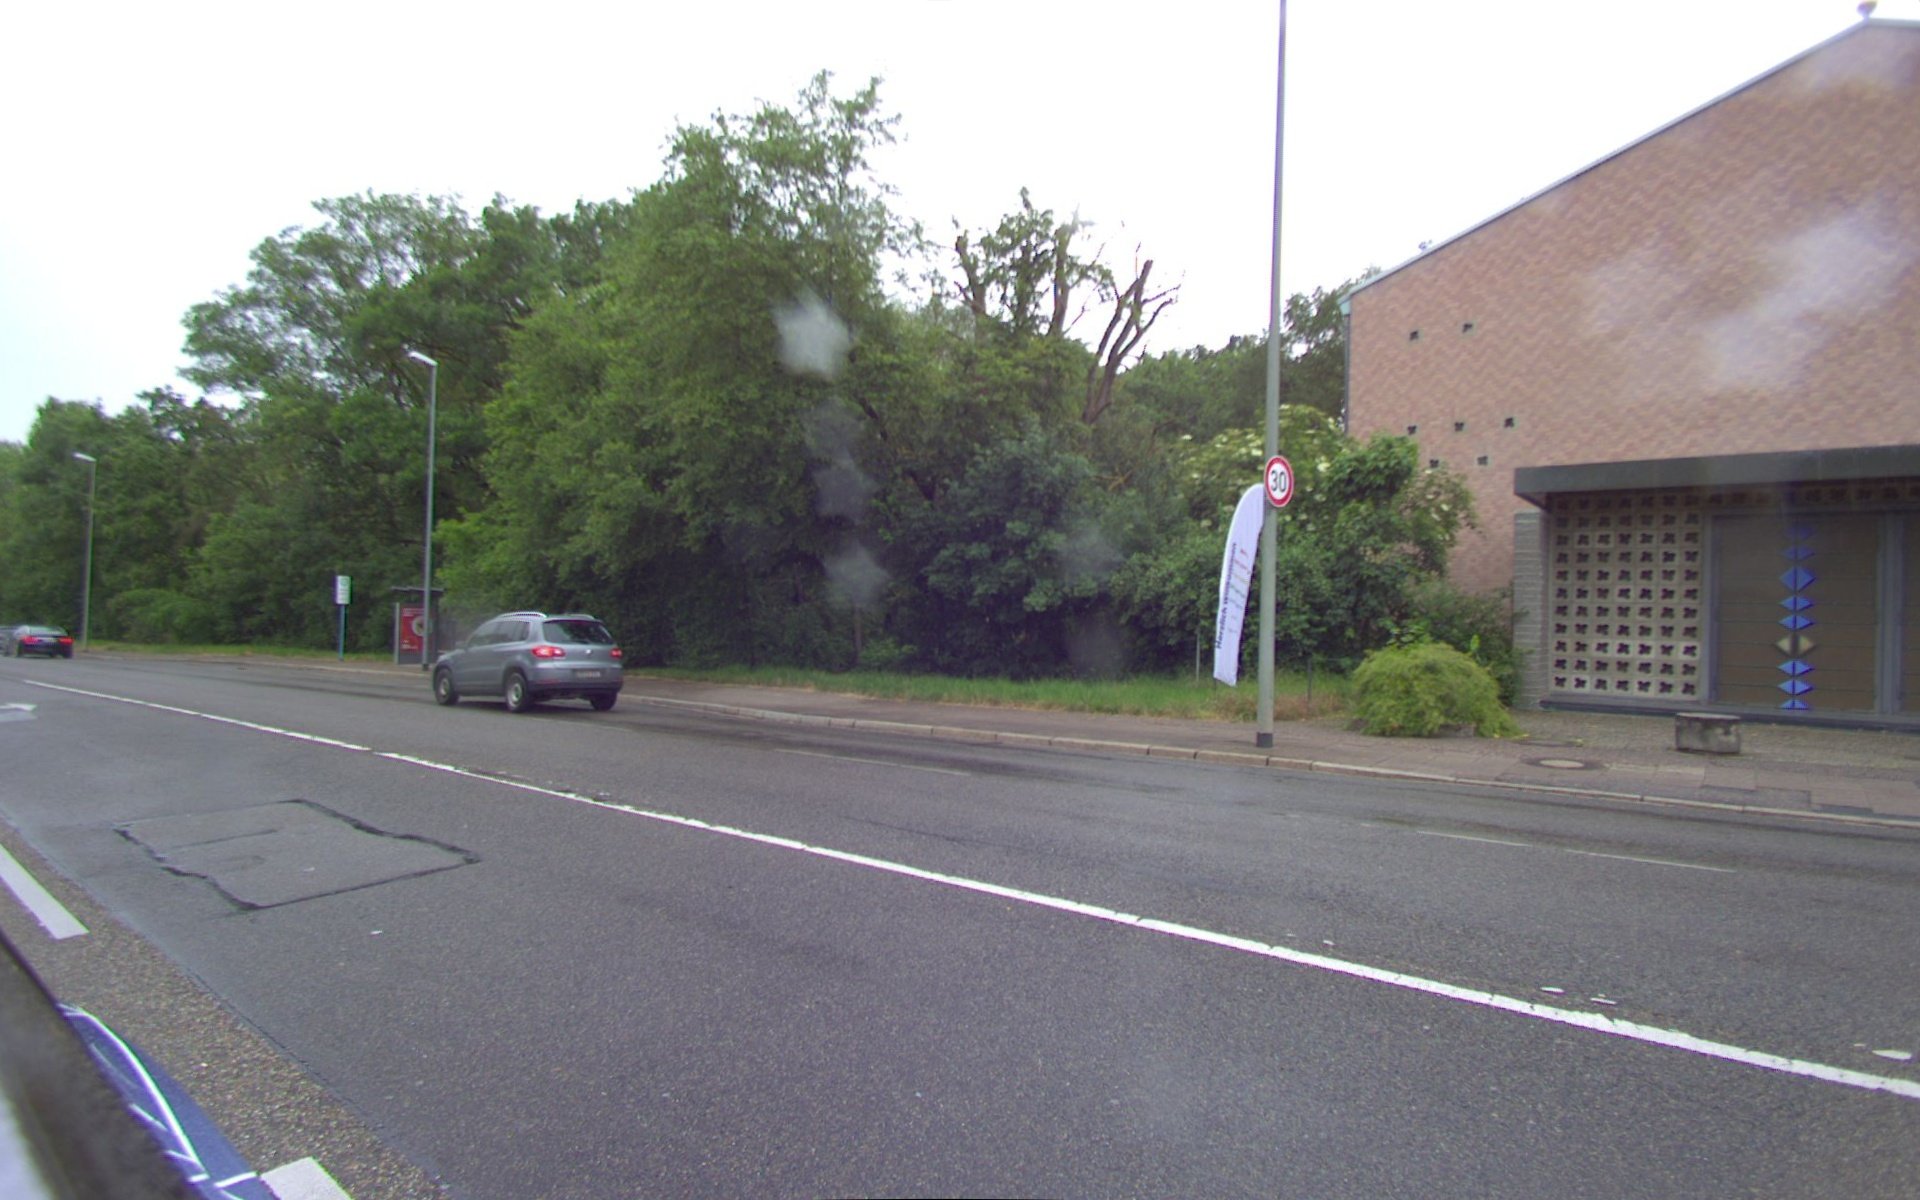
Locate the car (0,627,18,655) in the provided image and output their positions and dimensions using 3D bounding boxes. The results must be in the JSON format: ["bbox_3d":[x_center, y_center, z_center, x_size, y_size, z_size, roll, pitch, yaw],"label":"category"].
[{"bbox_3d":[-51.706,2.176,53.951,3.901,1.440,1.578,-1,-3,39],"label":"car"}]

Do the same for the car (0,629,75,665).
[{"bbox_3d":[-41.972,2.119,45.908,4.944,1.465,1.891,-1,-5,40],"label":"car"}]

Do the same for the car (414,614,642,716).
[{"bbox_3d":[-7.766,1.104,18.048,4.312,1.603,1.890,-1,-3,38],"label":"car"}]
